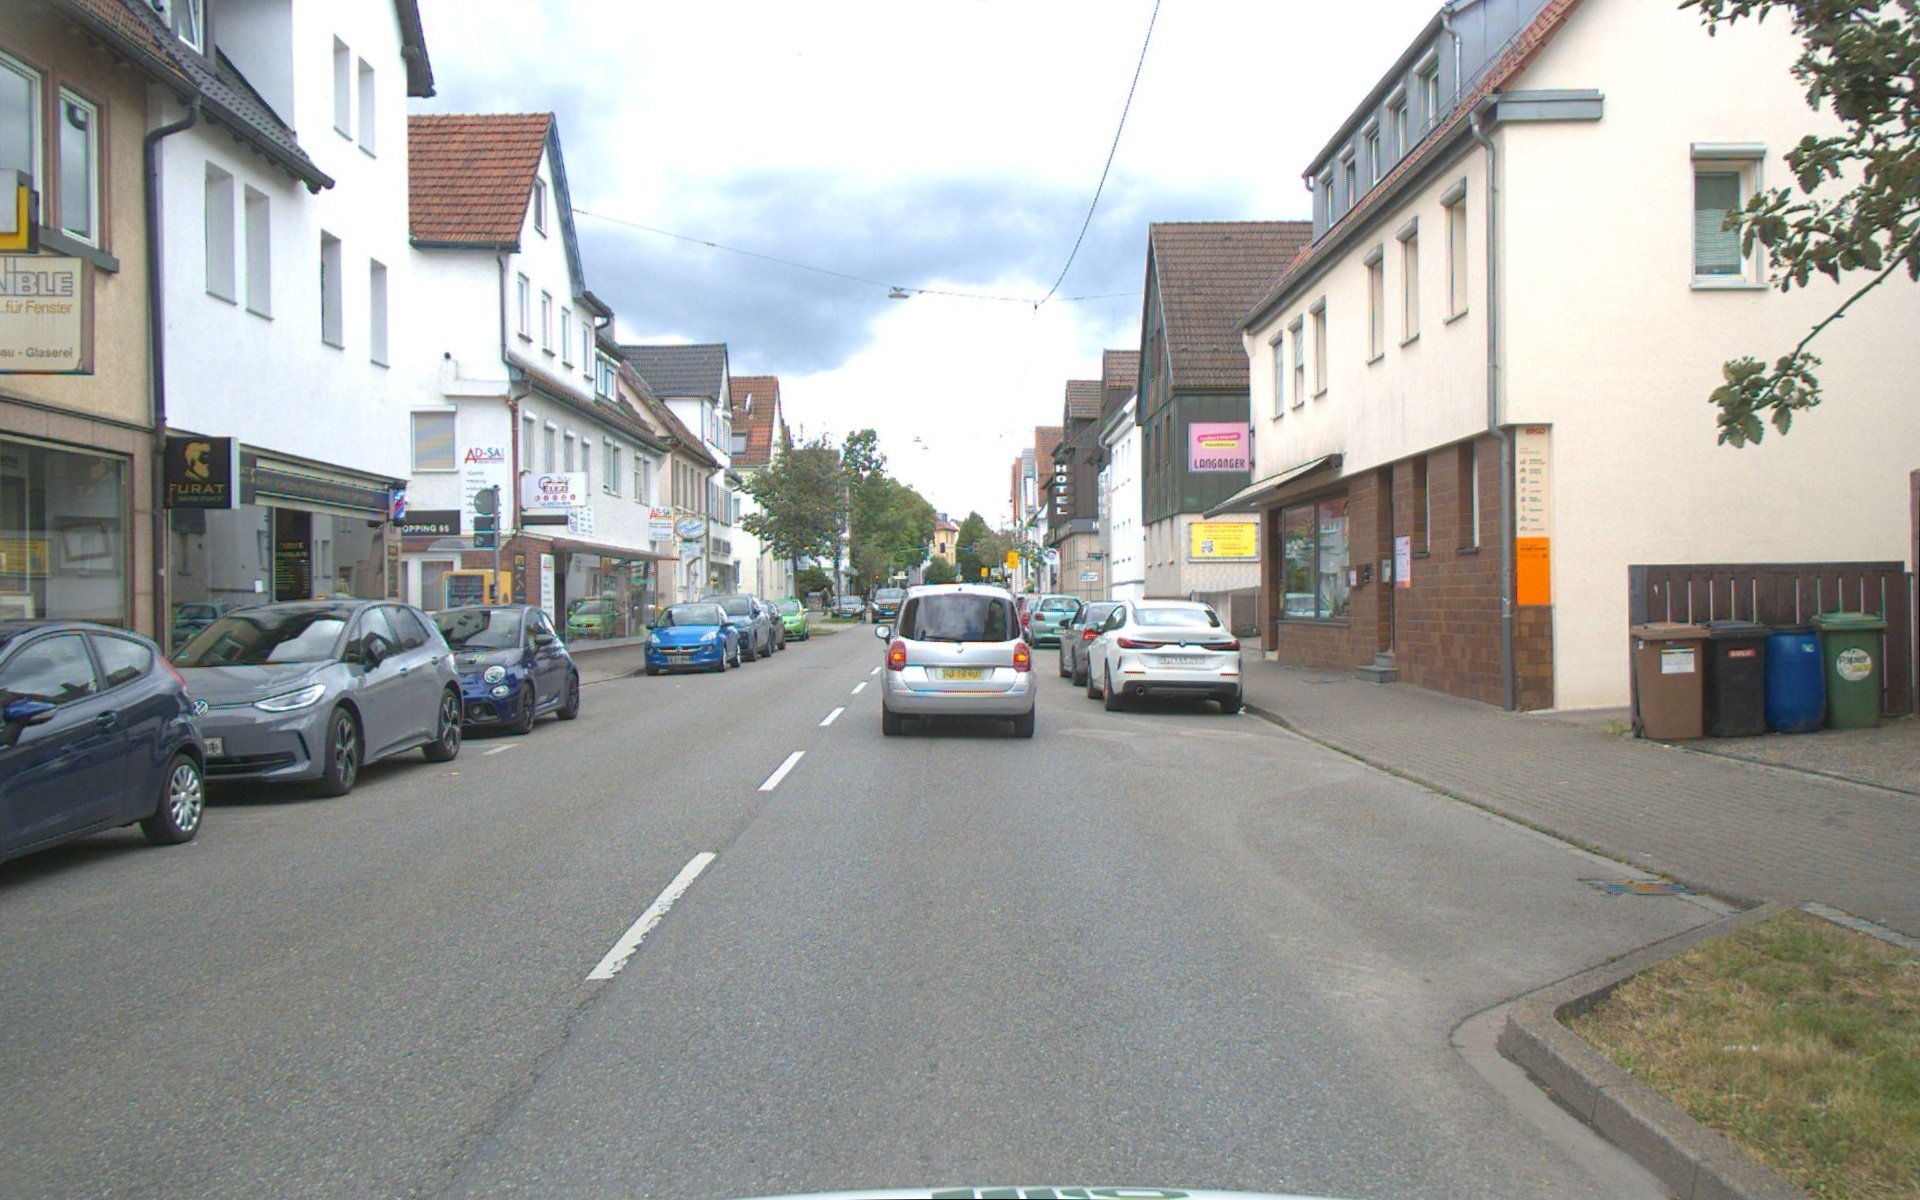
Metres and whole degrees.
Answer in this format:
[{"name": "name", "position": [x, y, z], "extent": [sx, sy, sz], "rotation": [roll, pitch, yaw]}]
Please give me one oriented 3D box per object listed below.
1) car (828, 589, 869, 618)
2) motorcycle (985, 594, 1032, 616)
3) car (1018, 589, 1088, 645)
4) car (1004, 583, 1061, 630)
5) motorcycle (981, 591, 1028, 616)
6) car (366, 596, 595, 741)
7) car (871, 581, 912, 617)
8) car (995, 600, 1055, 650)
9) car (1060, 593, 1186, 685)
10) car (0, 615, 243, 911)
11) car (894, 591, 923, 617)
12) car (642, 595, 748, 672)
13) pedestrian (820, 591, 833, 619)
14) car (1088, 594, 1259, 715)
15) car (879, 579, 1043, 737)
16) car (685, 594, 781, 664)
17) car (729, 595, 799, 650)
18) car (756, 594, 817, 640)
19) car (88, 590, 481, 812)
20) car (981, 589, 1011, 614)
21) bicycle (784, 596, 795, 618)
[{"name": "car", "position": [-6.235, 0.172, 92.922], "extent": [1.908, 1.493, 4.516], "rotation": [-3, 0, 0]}, {"name": "motorcycle", "position": [2.683, 0.272, 91.532], "extent": [2.700, 1.204, 0.693], "rotation": [0, 0, -31]}, {"name": "car", "position": [2.642, 0.450, 47.625], "extent": [1.793, 1.524, 3.993], "rotation": [1, 0, 0]}, {"name": "car", "position": [2.519, 0.221, 58.391], "extent": [1.837, 1.566, 4.512], "rotation": [0, 0, 0]}, {"name": "motorcycle", "position": [2.503, 0.191, 92.576], "extent": [2.680, 1.359, 0.693], "rotation": [0, 0, -31]}, {"name": "car", "position": [-5.676, 0.750, 20.004], "extent": [1.648, 1.519, 3.591], "rotation": [-2, 0, 0]}, {"name": "car", "position": [-3.543, -0.073, 86.512], "extent": [1.862, 1.768, 4.366], "rotation": [-2, 0, 0]}, {"name": "car", "position": [2.013, 0.750, 52.394], "extent": [1.719, 1.471, 4.454], "rotation": [1, 0, 0]}, {"name": "car", "position": [2.763, 0.627, 28.799], "extent": [1.793, 1.471, 4.110], "rotation": [1, 0, 0]}, {"name": "car", "position": [-5.674, 0.863, 9.227], "extent": [1.648, 1.449, 3.930], "rotation": [-2, 0, -1]}, {"name": "car", "position": [-3.415, 0.238, 110.829], "extent": [1.758, 1.606, 4.192], "rotation": [-2, 0, 0]}, {"name": "car", "position": [-5.720, 0.692, 36.081], "extent": [1.648, 1.525, 3.775], "rotation": [-2, 0, 0]}, {"name": "pedestrian", "position": [-8.525, 0.311, 105.960], "extent": [0.747, 1.822, 0.890], "rotation": [0, 0, -1]}, {"name": "car", "position": [2.806, 0.670, 22.610], "extent": [1.793, 1.471, 4.331], "rotation": [1, 0, 0]}, {"name": "car", "position": [0.017, 0.582, 18.799], "extent": [1.648, 1.593, 3.993], "rotation": [1, 0, 0]}, {"name": "car", "position": [-5.698, 0.695, 41.978], "extent": [1.766, 1.627, 4.304], "rotation": [-2, 0, 0]}, {"name": "car", "position": [-5.634, 0.626, 47.901], "extent": [1.549, 1.534, 3.812], "rotation": [0, 0, 0]}, {"name": "car", "position": [-6.018, 0.568, 57.721], "extent": [1.648, 1.473, 4.020], "rotation": [-2, 0, 0]}, {"name": "car", "position": [-5.649, 0.750, 14.426], "extent": [1.675, 1.593, 4.113], "rotation": [-2, 0, 0]}, {"name": "car", "position": [2.186, 0.064, 100.532], "extent": [1.666, 1.492, 4.238], "rotation": [0, 0, -1]}, {"name": "bicycle", "position": [-9.184, 0.378, 88.938], "extent": [0.504, 1.174, 1.665], "rotation": [0, 0, -3]}]
